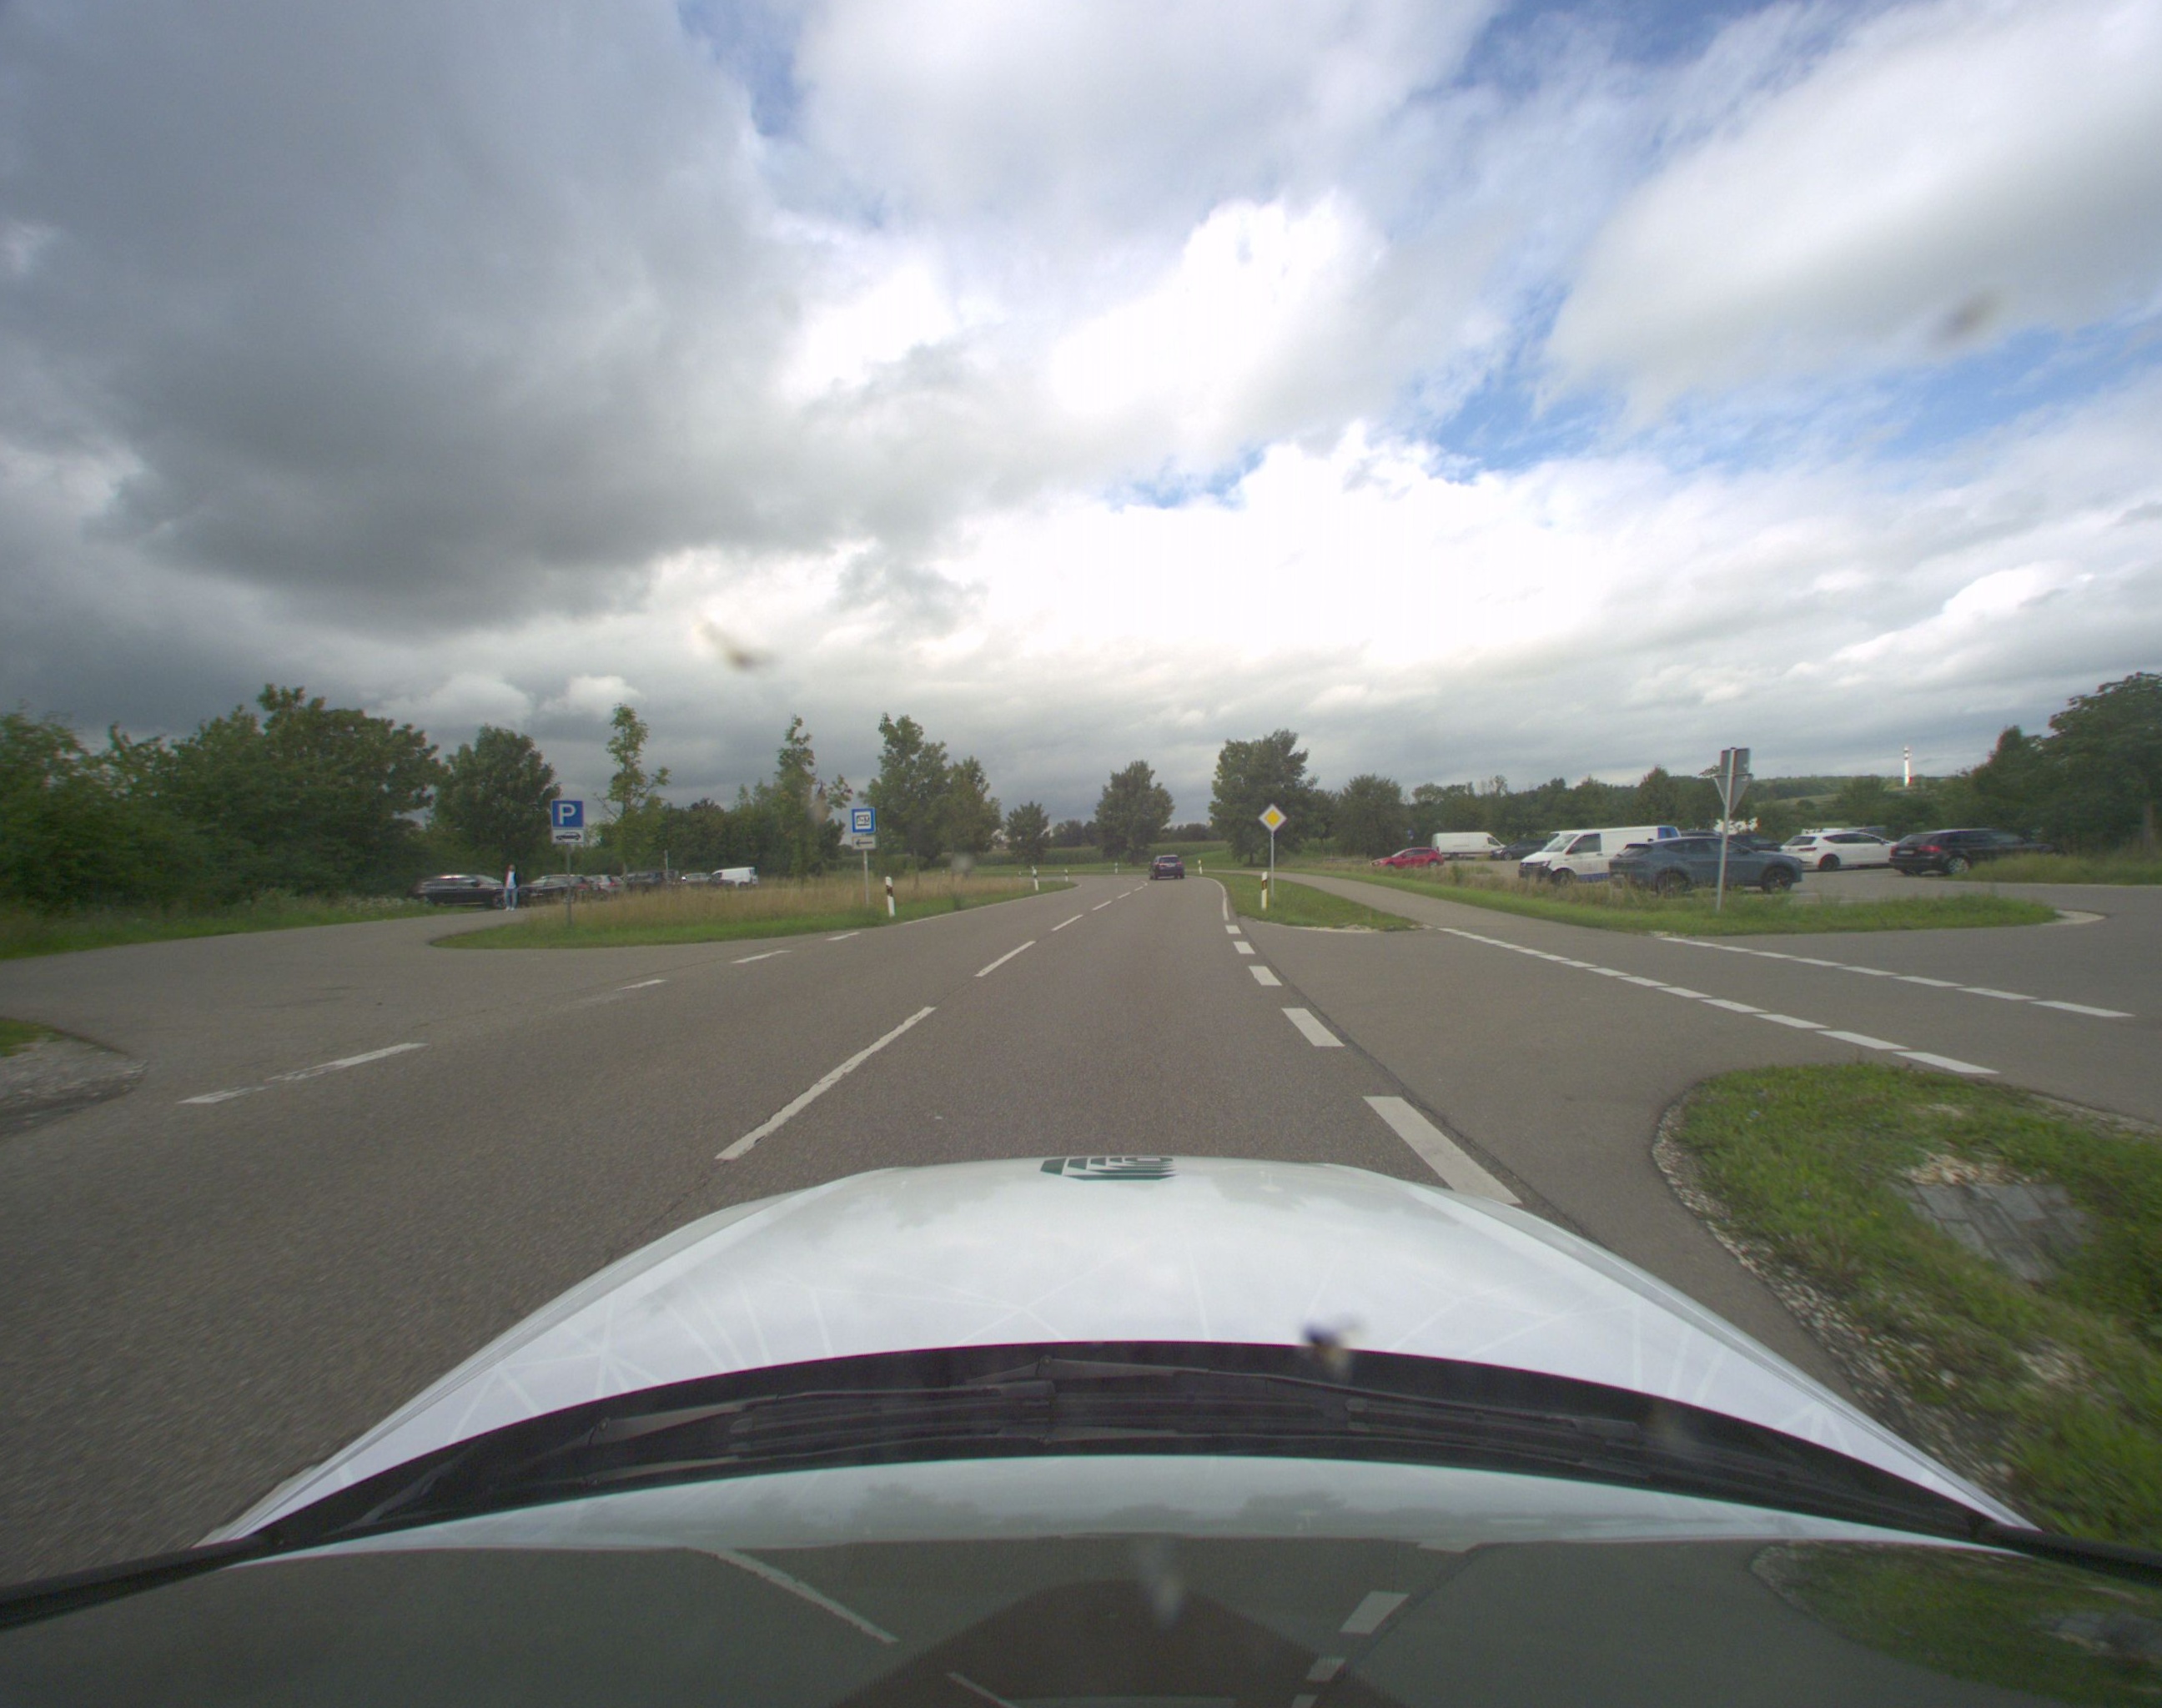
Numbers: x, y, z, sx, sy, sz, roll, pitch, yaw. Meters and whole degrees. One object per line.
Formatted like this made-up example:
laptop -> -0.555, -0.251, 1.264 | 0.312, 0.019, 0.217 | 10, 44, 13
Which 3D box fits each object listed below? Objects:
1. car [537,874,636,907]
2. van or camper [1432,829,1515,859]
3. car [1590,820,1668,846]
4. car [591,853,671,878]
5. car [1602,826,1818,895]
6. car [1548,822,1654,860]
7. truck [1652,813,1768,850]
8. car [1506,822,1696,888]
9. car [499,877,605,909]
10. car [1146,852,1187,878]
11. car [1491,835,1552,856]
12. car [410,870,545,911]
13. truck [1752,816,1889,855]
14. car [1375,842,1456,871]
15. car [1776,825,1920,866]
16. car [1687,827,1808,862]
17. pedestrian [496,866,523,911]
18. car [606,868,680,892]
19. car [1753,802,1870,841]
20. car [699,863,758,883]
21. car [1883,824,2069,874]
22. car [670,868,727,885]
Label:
car -> -26.876, 1.961, 44.362 | 4.233, 1.566, 1.755 | -2, 0, -5
van or camper -> 36.674, -0.904, 76.233 | 6.702, 2.562, 2.054 | -2, 0, 9
car -> 37.034, -1.419, 55.106 | 3.975, 1.596, 1.999 | -2, 0, -1
car -> -27.346, 0.692, 49.652 | 3.997, 1.380, 1.467 | -2, 0, -17
car -> 16.822, 0.170, 21.963 | 4.251, 1.566, 1.841 | -3, 0, 5
car -> 32.094, -0.768, 50.360 | 5.002, 2.000, 2.235 | -3, 0, 5
truck -> 50.705, -1.771, 65.817 | 6.841, 2.715, 2.838 | -2, 0, 7
car -> 17.029, 0.034, 26.881 | 4.921, 1.974, 1.958 | -2, 0, 5
car -> -26.375, 1.931, 40.713 | 3.981, 1.380, 1.820 | -2, 0, -6
car -> 5.142, 0.650, 49.607 | 1.837, 1.417, 3.995 | -2, 0, -3
car -> 32.646, -0.603, 60.410 | 3.605, 1.440, 1.710 | -2, 0, 7
car -> -25.663, 1.528, 34.770 | 4.238, 1.566, 1.753 | -2, 0, -9
truck -> 46.963, -1.101, 52.005 | 3.116, 2.218, 6.391 | -2, 0, 3
car -> 21.239, 0.136, 51.835 | 4.309, 1.575, 1.974 | -3, 0, 5
car -> 28.440, -0.306, 30.270 | 3.675, 1.391, 1.760 | -2, 0, 0
car -> 28.740, -0.394, 35.221 | 3.665, 1.391, 1.764 | -2, 0, 9
pedestrian -> -21.481, 1.292, 30.601 | 0.514, 1.667, 0.660 | -2, 0, -2
car -> -28.313, 1.658, 52.757 | 3.995, 1.380, 1.468 | -2, 0, -16
car -> 34.121, -1.492, 38.159 | 3.655, 1.607, 1.769 | -2, 0, 22
car -> -27.834, 1.474, 64.439 | 3.989, 1.380, 1.470 | -2, 0, -11
car -> 27.732, -0.159, 25.345 | 3.669, 1.391, 1.732 | -2, 0, 5
car -> -28.760, 1.678, 61.247 | 3.600, 1.167, 1.330 | -2, 0, -5
